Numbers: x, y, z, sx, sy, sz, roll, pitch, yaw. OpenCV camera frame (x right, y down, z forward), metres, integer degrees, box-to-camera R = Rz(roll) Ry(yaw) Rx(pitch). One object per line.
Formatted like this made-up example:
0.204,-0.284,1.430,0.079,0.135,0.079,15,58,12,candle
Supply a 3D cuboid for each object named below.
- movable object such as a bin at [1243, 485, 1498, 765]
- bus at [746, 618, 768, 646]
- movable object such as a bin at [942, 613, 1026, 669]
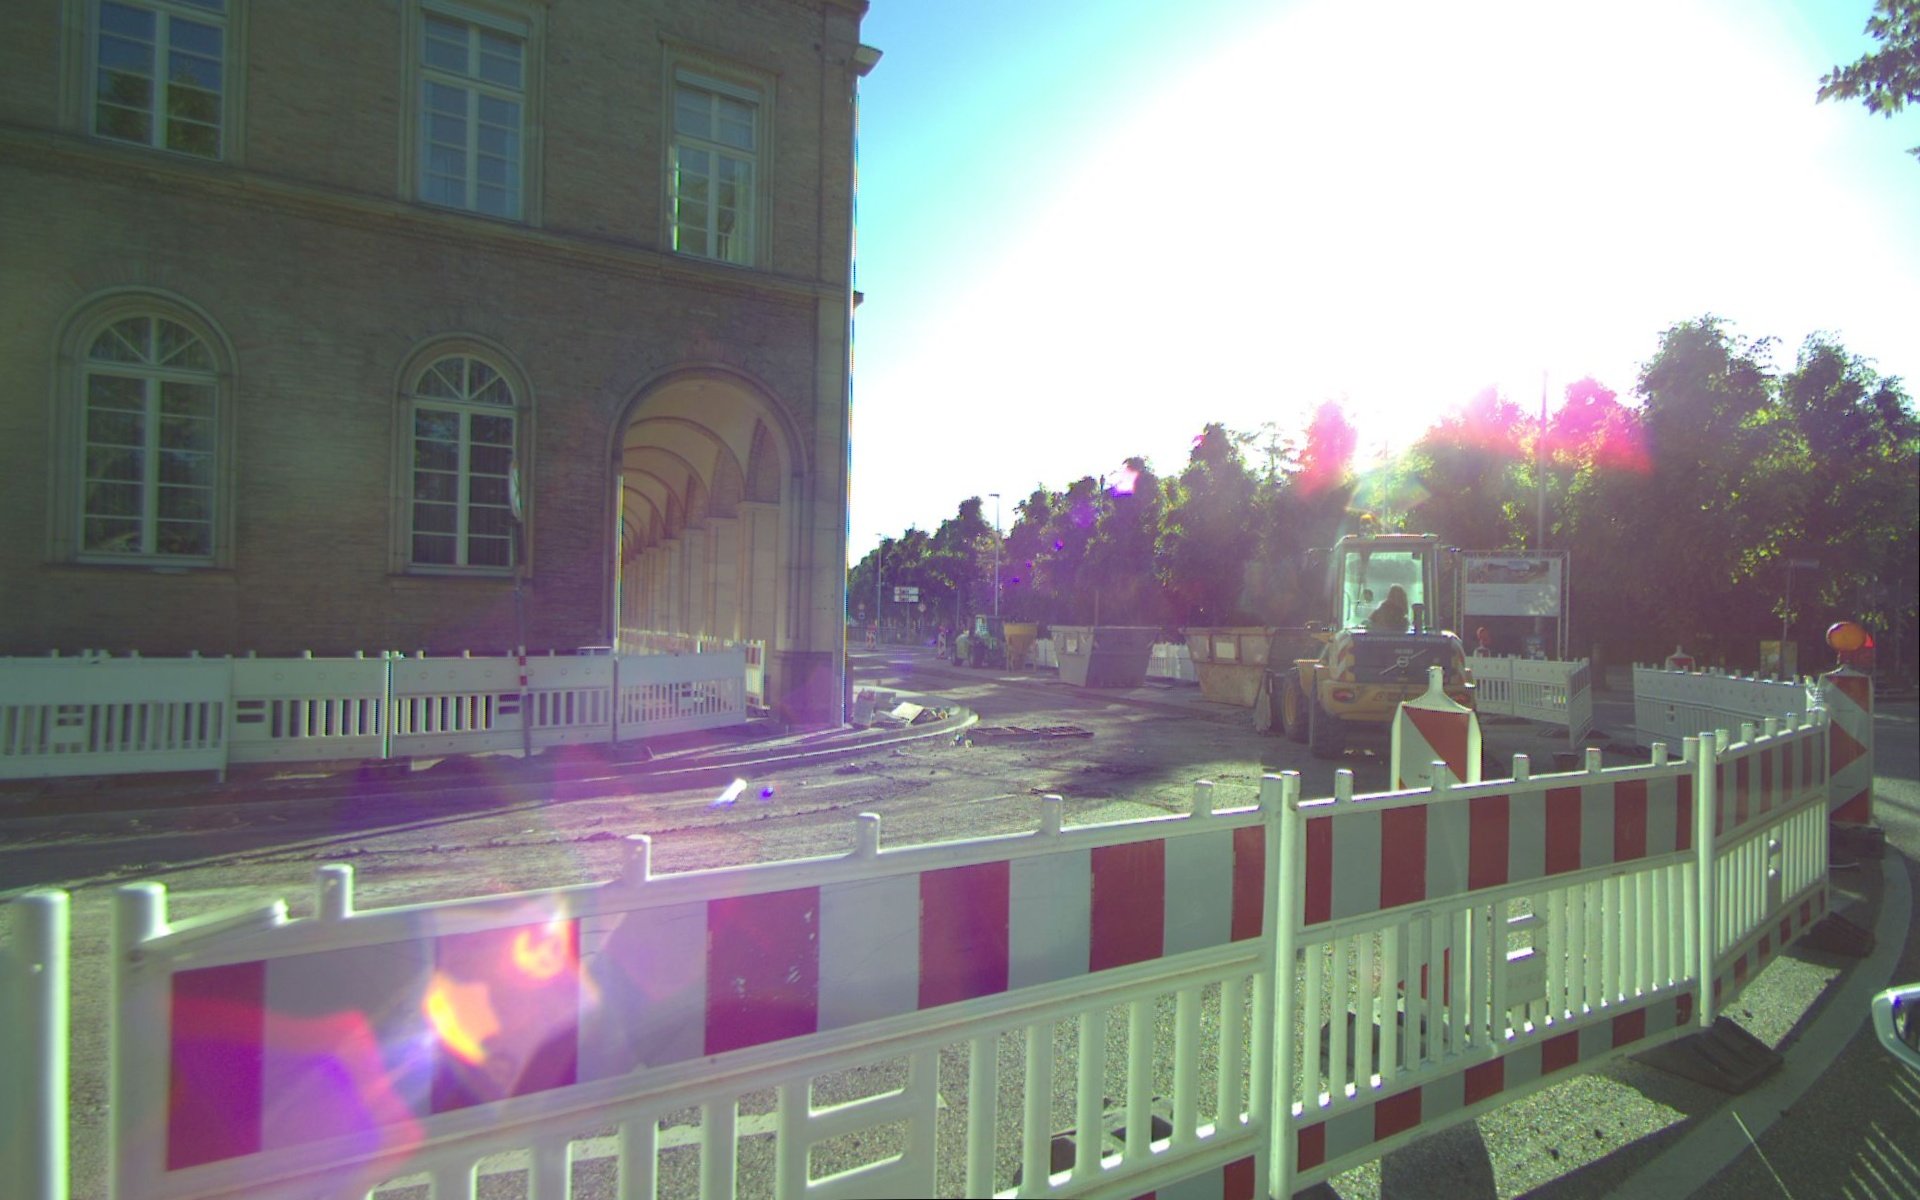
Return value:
5.404,0.384,14.217,2.515,3.071,5.935,0,-2,14,movable object such as a bin
-21.296,3.410,105.387,2.044,2.721,4.673,1,-4,-14,bus
0.843,1.527,38.452,2.023,1.975,4.319,1,0,-16,movable object such as a bin
